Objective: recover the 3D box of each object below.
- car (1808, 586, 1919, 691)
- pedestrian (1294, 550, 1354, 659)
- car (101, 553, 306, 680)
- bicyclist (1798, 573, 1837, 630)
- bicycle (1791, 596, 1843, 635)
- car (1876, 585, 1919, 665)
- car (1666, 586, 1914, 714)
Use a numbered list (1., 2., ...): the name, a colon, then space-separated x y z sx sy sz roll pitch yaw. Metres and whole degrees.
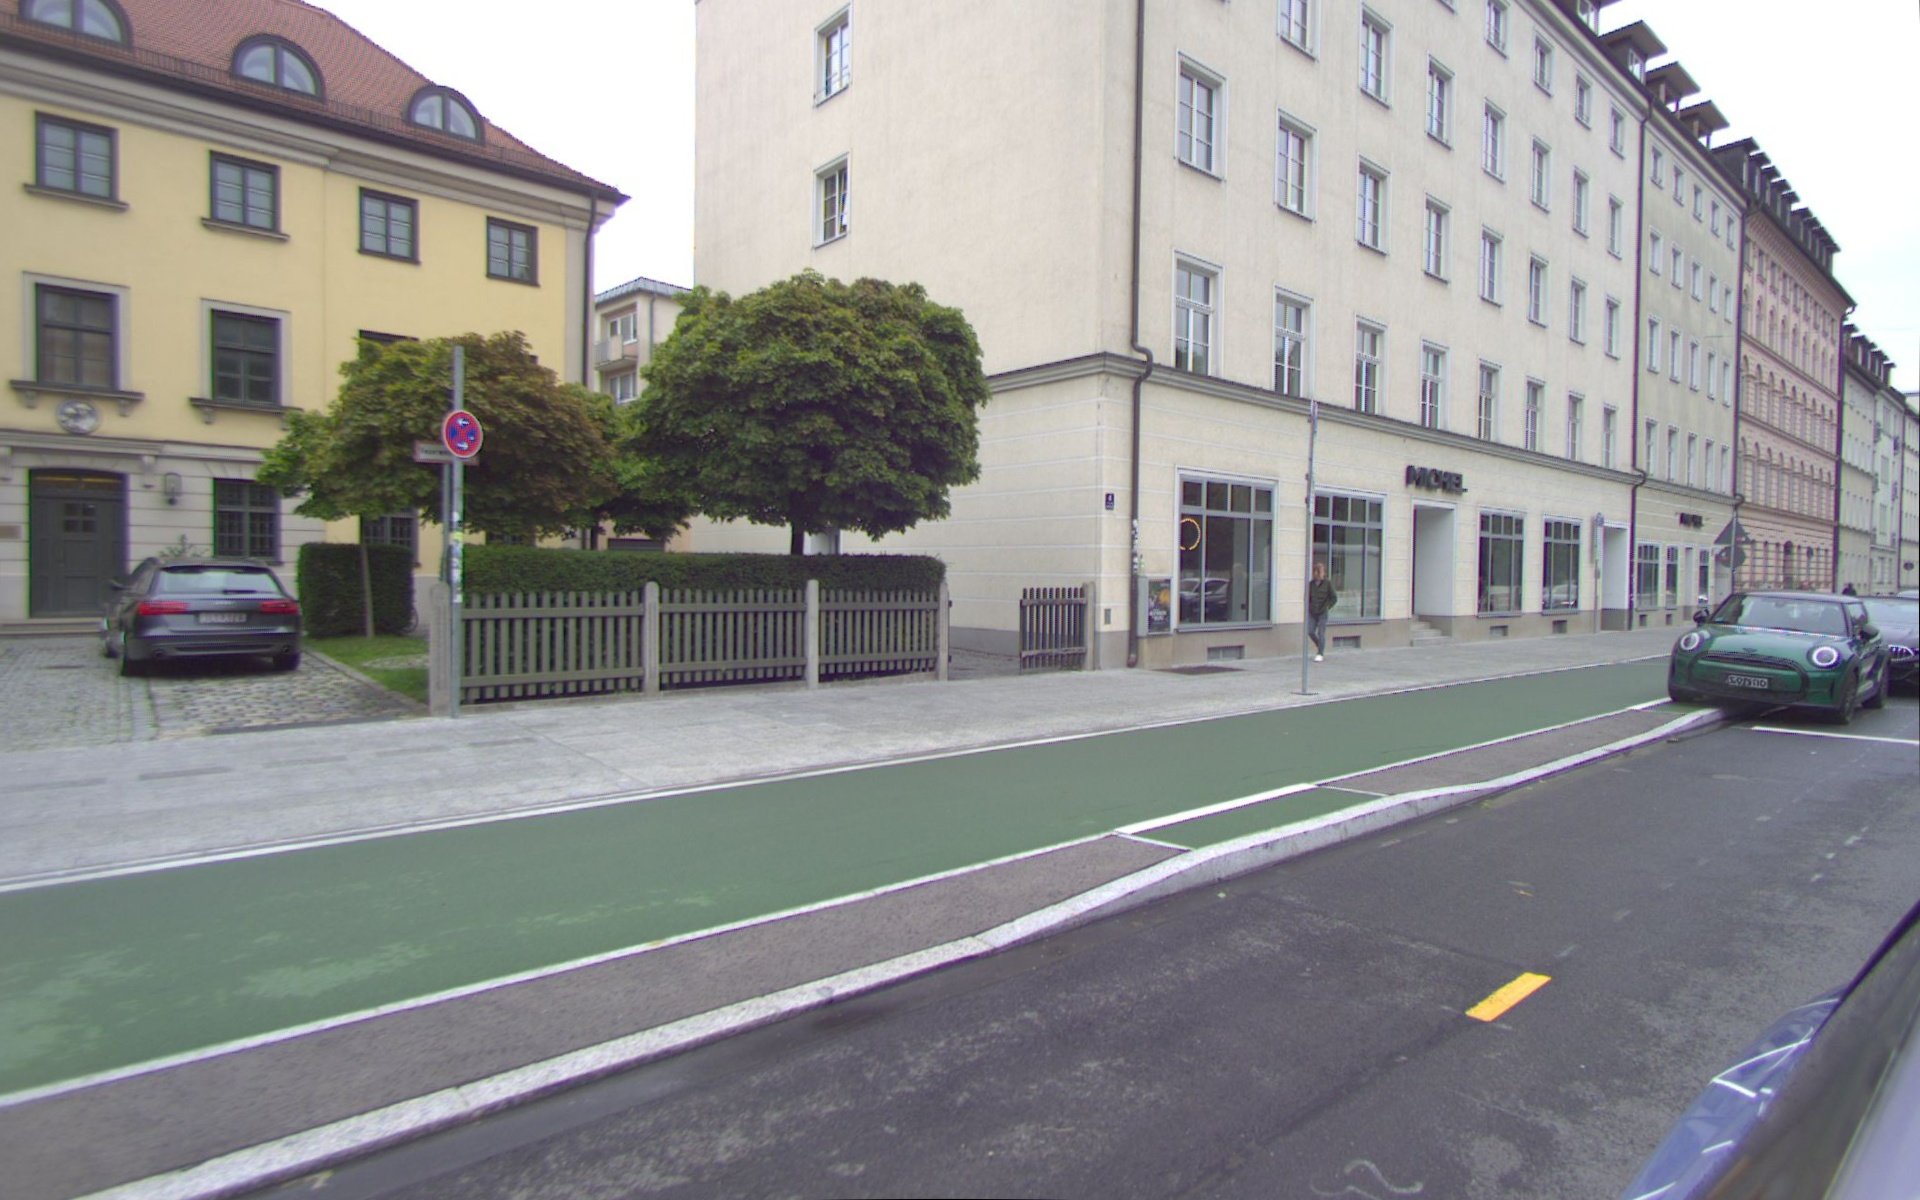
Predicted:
1. car: 14.561 0.507 15.554 3.930 1.451 1.738 -1 1 -41
2. pedestrian: 6.533 0.059 18.166 0.811 1.897 0.655 0 3 -40
3. car: -10.290 0.129 13.641 1.824 1.435 4.300 -1 2 -42
4. bicyclist: 24.309 0.039 28.691 0.843 1.572 0.723 0 0 -41
5. bicycle: 24.313 0.410 28.699 2.487 1.045 0.750 -1 0 -41
6. car: 19.248 0.447 19.618 3.930 1.451 1.738 -1 1 -41
7. car: 10.406 0.499 12.598 3.930 1.337 1.738 -1 1 -41
